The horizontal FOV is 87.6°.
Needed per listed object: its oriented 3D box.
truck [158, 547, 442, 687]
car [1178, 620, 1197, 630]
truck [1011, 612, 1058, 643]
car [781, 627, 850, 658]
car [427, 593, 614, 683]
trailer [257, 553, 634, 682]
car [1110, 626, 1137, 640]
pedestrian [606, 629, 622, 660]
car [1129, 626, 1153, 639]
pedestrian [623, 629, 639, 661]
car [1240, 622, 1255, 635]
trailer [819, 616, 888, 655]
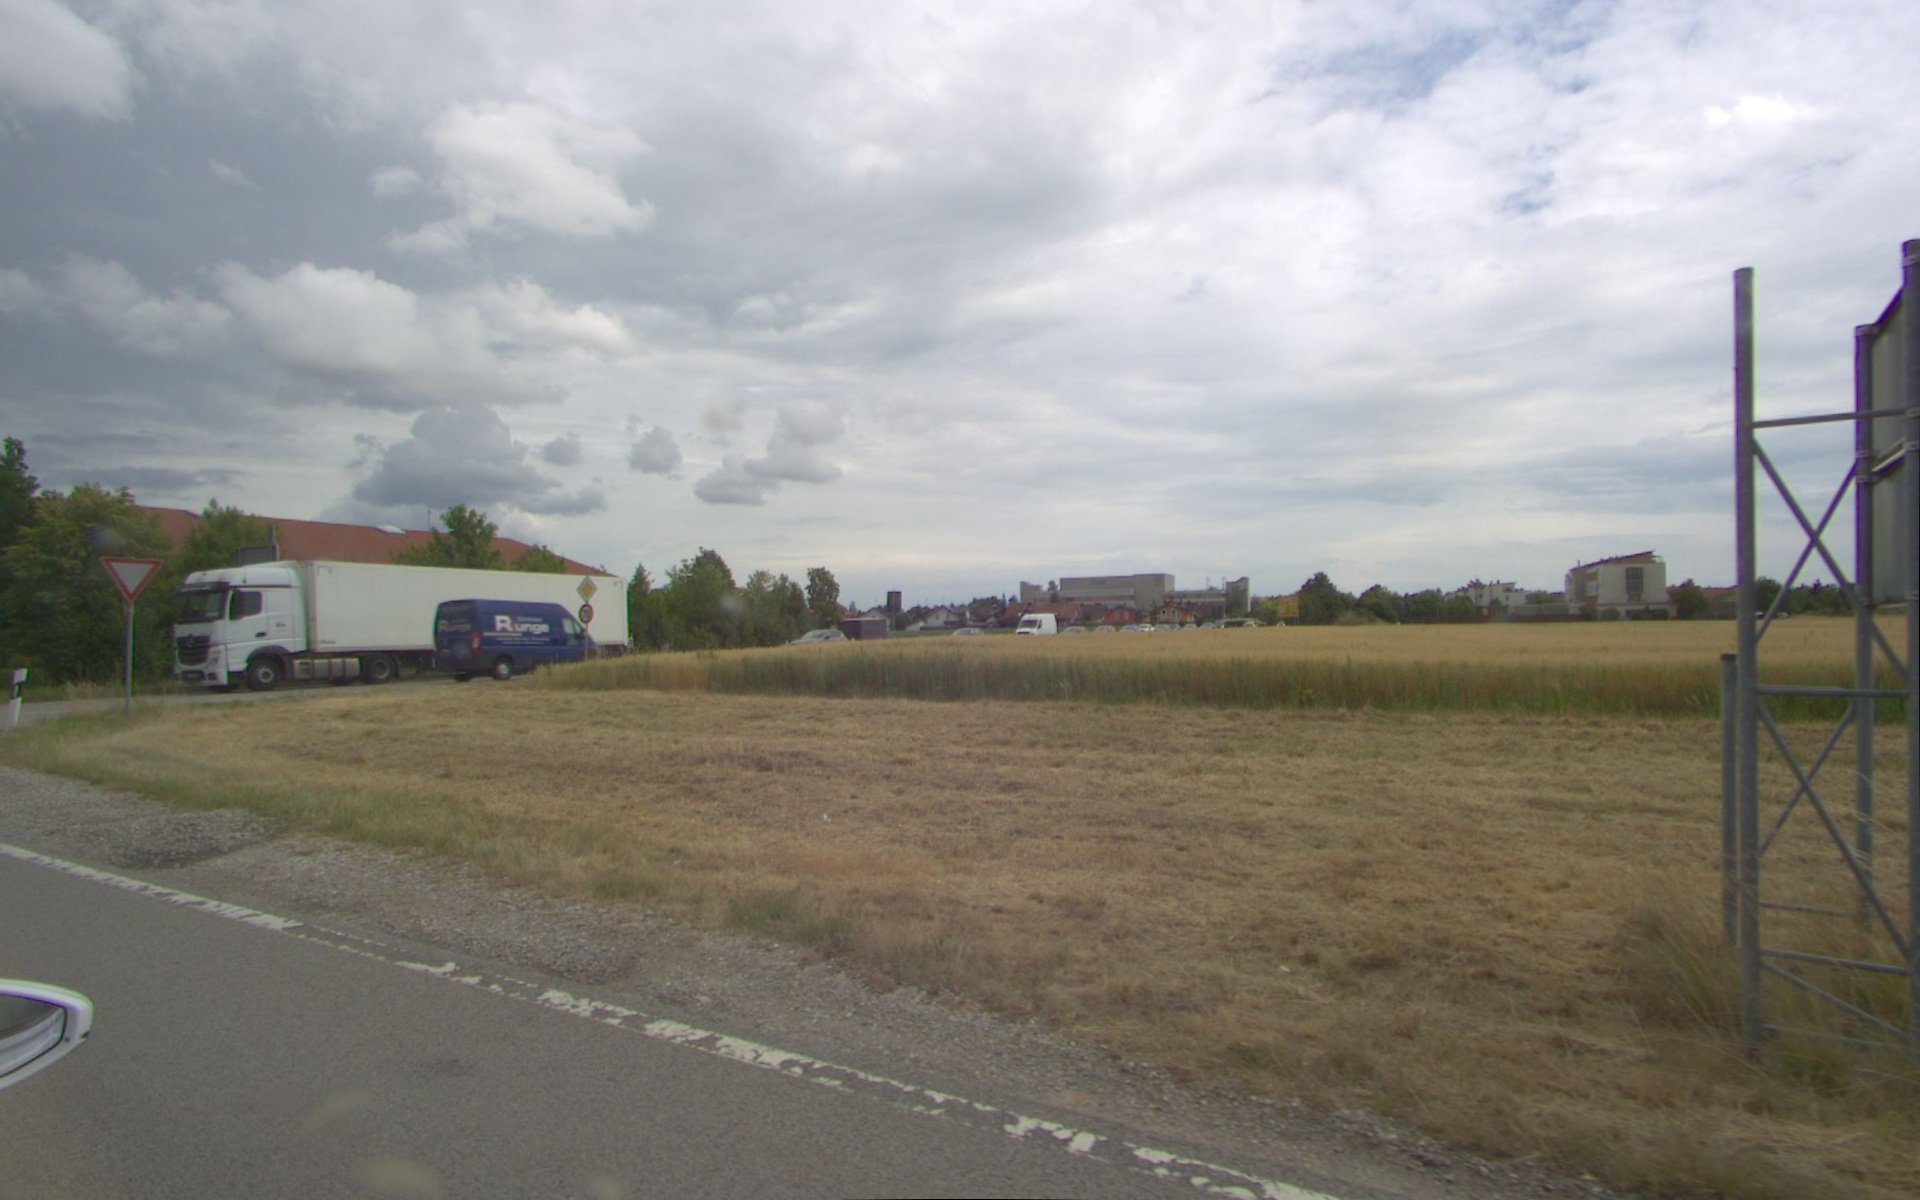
[{"bbox_3d":[-21.479,0.630,33.136,3.079,4.065,7.284,-3,-2,26],"label":"truck"},{"bbox_3d":[31.831,3.457,139.835,1.826,1.287,3.518,-1,-1,25],"label":"car"},{"bbox_3d":[6.596,2.438,88.197,1.969,2.608,5.996,-2,-2,26],"label":"truck"},{"bbox_3d":[-8.431,2.467,58.840,1.967,1.704,4.466,-2,-2,23],"label":"car"},{"bbox_3d":[-14.185,1.147,32.734,2.115,2.674,5.550,0,0,26],"label":"car"},{"bbox_3d":[-18.807,0.744,38.608,3.079,4.065,13.842,-2,-2,25],"label":"trailer"},{"bbox_3d":[18.166,3.614,111.292,1.827,1.485,3.986,-1,-1,27],"label":"car"},{"bbox_3d":[-18.885,2.426,54.637,0.521,1.705,0.626,0,0,22],"label":"pedestrian"},{"bbox_3d":[21.362,3.794,118.084,1.826,1.485,3.987,-1,-1,25],"label":"car"},{"bbox_3d":[-17.796,2.439,54.197,0.521,1.705,0.626,0,0,22],"label":"pedestrian"},{"bbox_3d":[45.542,4.440,158.540,1.966,1.915,3.988,0,0,23],"label":"car"},{"bbox_3d":[-6.626,2.212,62.908,2.378,2.321,4.383,-2,-1,24],"label":"trailer"}]
